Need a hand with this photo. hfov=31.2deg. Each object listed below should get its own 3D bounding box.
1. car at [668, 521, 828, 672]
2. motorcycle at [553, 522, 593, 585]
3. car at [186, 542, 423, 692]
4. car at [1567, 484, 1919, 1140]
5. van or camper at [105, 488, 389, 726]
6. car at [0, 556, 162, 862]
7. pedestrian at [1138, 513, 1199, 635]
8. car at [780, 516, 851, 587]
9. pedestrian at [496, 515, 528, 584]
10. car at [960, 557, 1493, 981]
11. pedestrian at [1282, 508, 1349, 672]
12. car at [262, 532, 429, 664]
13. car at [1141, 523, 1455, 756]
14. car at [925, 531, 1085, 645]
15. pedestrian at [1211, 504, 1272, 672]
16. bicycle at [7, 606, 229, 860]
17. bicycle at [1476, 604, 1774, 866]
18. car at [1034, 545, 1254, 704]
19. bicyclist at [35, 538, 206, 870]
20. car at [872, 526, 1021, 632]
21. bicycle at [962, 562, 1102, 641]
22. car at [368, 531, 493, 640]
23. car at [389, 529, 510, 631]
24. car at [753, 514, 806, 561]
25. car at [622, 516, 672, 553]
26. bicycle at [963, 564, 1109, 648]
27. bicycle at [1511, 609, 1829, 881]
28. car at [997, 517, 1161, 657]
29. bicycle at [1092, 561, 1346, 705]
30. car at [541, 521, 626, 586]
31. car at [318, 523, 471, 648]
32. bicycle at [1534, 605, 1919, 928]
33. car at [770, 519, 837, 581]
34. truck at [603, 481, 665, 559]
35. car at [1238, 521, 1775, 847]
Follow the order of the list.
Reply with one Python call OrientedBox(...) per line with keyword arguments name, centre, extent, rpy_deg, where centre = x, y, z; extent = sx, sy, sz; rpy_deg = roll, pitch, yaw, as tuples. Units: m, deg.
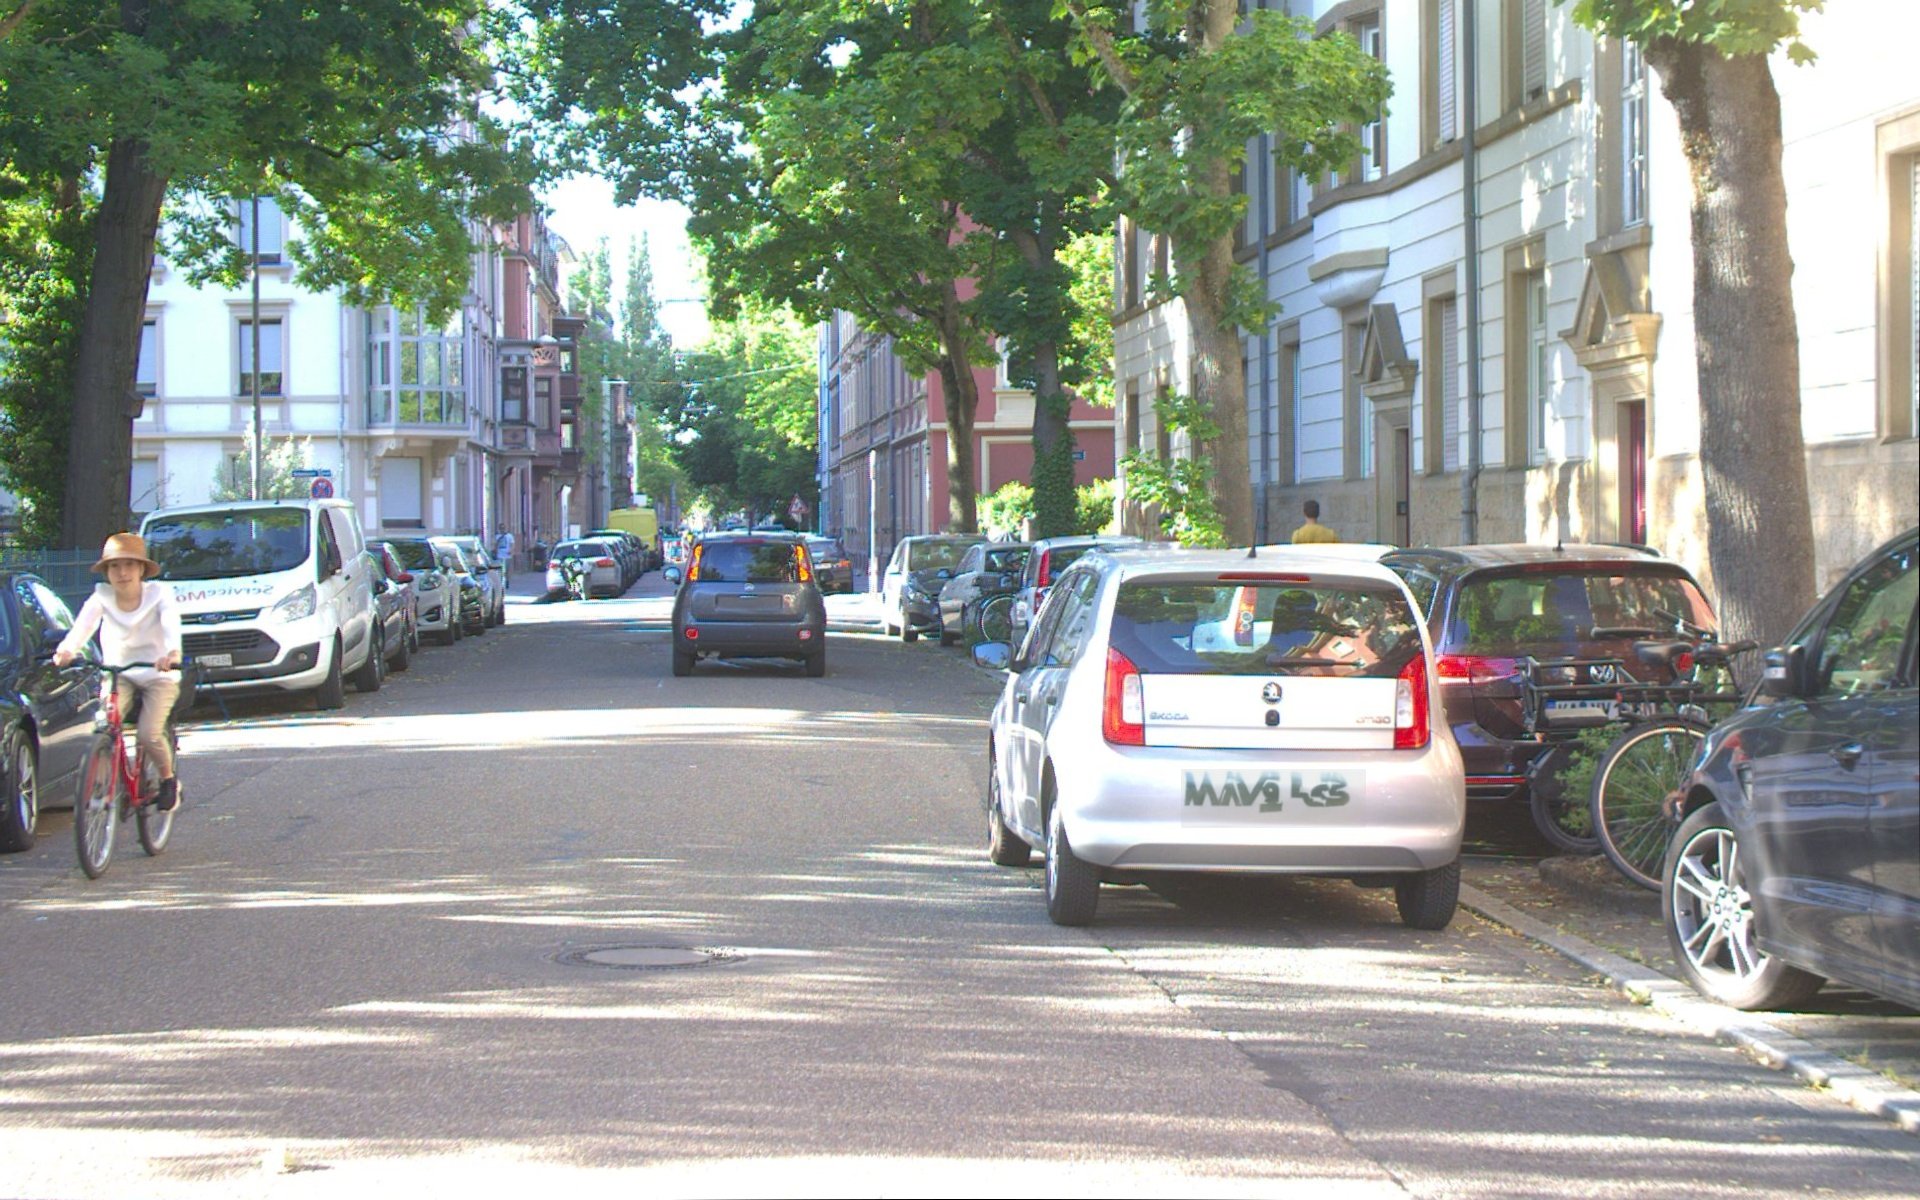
OrientedBox(name="car", centre=(-2.296, -0.075, 36.906), extent=(1.632, 1.545, 3.265), rpy_deg=(0, 1, -4))
OrientedBox(name="motorcycle", centre=(-9.236, -1.115, 82.114), extent=(0.696, 1.455, 1.751), rpy_deg=(-2, 2, -13))
OrientedBox(name="car", centre=(-7.256, 0.138, 38.509), extent=(2.000, 1.452, 4.607), rpy_deg=(-3, 2, -4))
OrientedBox(name="car", centre=(3.347, 0.514, 9.873), extent=(1.885, 1.710, 4.945), rpy_deg=(-1, 2, -5))
OrientedBox(name="van or camper", centre=(-6.731, 0.001, 33.009), extent=(1.921, 1.973, 5.463), rpy_deg=(-4, 2, -5))
OrientedBox(name="car", centre=(-5.564, 0.547, 18.529), extent=(1.713, 1.390, 4.781), rpy_deg=(-5, 2, -5))
OrientedBox(name="pedestrian", centre=(2.911, -0.375, 48.041), extent=(0.778, 1.688, 0.874), rpy_deg=(0, 1, -1))
OrientedBox(name="car", centre=(-3.523, -1.194, 83.314), extent=(1.663, 1.663, 3.757), rpy_deg=(0, 2, -3))
OrientedBox(name="pedestrian", centre=(-11.882, -1.345, 91.202), extent=(0.723, 1.833, 0.626), rpy_deg=(1, 2, 7))
OrientedBox(name="car", centre=(1.008, 0.615, 14.816), extent=(1.678, 1.539, 3.801), rpy_deg=(0, 1, -5))
OrientedBox(name="pedestrian", centre=(3.703, -0.113, 35.820), extent=(0.595, 1.695, 0.689), rpy_deg=(0, 1, -3))
OrientedBox(name="car", centre=(-7.704, -0.060, 43.391), extent=(1.601, 1.455, 4.028), rpy_deg=(-4, 2, -4))
OrientedBox(name="car", centre=(2.323, 0.214, 24.462), extent=(1.596, 1.483, 3.749), rpy_deg=(-2, 1, -4))
OrientedBox(name="car", centre=(0.575, -0.201, 47.403), extent=(1.610, 1.473, 3.871), rpy_deg=(-1, 2, -8))
OrientedBox(name="pedestrian", centre=(2.932, -0.133, 35.859), extent=(0.520, 1.729, 0.878), rpy_deg=(0, 1, -3))
OrientedBox(name="bicycle", centre=(-3.867, 0.585, 15.898), extent=(0.665, 1.073, 1.685), rpy_deg=(0, 1, -2))
OrientedBox(name="bicycle", centre=(2.863, 0.575, 14.821), extent=(1.200, 1.072, 0.298), rpy_deg=(-2, 1, -4))
OrientedBox(name="car", centre=(1.722, 0.188, 33.345), extent=(1.622, 1.389, 4.158), rpy_deg=(-1, 1, -4))
OrientedBox(name="bicyclist", centre=(-3.873, 0.466, 15.897), extent=(0.651, 1.503, 0.625), rpy_deg=(0, 1, -2))
OrientedBox(name="car", centre=(-0.252, -0.348, 52.842), extent=(1.788, 1.545, 4.411), rpy_deg=(-1, 1, -7))
OrientedBox(name="bicycle", centre=(0.915, 0.018, 43.996), extent=(1.715, 0.946, 0.733), rpy_deg=(-2, 1, -4))
OrientedBox(name="car", centre=(-8.291, -0.265, 53.617), extent=(1.746, 1.469, 4.465), rpy_deg=(-5, 2, -9))
OrientedBox(name="car", centre=(-8.675, -0.375, 58.704), extent=(1.696, 1.545, 3.920), rpy_deg=(-4, 2, -5))
OrientedBox(name="car", centre=(-5.903, -2.052, 112.388), extent=(1.663, 1.500, 3.757), rpy_deg=(0, 2, -3))
OrientedBox(name="car", centre=(-13.921, -2.940, 153.132), extent=(1.961, 1.474, 3.925), rpy_deg=(-4, 2, -3))
OrientedBox(name="bicycle", centre=(0.938, 0.073, 42.773), extent=(1.769, 1.036, 0.606), rpy_deg=(0, 1, -4))
OrientedBox(name="bicycle", centre=(3.131, 0.631, 15.188), extent=(1.307, 1.136, 0.328), rpy_deg=(-2, 1, -4))
OrientedBox(name="car", centre=(1.318, -0.181, 39.260), extent=(1.520, 1.505, 3.544), rpy_deg=(-1, 1, -4))
OrientedBox(name="bicycle", centre=(2.108, 0.260, 28.074), extent=(1.969, 1.069, 0.599), rpy_deg=(-2, 1, -3))
OrientedBox(name="car", centre=(-9.331, -1.177, 85.413), extent=(1.796, 1.427, 3.925), rpy_deg=(-4, 2, -3))
OrientedBox(name="car", centre=(-7.967, -0.244, 48.728), extent=(1.824, 1.548, 4.134), rpy_deg=(-5, 2, -6))
OrientedBox(name="bicycle", centre=(3.278, 0.645, 13.742), extent=(1.810, 1.163, 0.569), rpy_deg=(-3, 2, -5))
OrientedBox(name="car", centre=(-4.007, -1.290, 87.786), extent=(1.663, 1.500, 3.757), rpy_deg=(0, 2, -3))
OrientedBox(name="truck", centre=(-13.044, -3.218, 137.878), extent=(2.070, 2.916, 5.069), rpy_deg=(-4, 2, -3))
OrientedBox(name="car", centre=(2.733, 0.342, 18.253), extent=(1.786, 1.508, 4.461), rpy_deg=(0, 1, -5))
